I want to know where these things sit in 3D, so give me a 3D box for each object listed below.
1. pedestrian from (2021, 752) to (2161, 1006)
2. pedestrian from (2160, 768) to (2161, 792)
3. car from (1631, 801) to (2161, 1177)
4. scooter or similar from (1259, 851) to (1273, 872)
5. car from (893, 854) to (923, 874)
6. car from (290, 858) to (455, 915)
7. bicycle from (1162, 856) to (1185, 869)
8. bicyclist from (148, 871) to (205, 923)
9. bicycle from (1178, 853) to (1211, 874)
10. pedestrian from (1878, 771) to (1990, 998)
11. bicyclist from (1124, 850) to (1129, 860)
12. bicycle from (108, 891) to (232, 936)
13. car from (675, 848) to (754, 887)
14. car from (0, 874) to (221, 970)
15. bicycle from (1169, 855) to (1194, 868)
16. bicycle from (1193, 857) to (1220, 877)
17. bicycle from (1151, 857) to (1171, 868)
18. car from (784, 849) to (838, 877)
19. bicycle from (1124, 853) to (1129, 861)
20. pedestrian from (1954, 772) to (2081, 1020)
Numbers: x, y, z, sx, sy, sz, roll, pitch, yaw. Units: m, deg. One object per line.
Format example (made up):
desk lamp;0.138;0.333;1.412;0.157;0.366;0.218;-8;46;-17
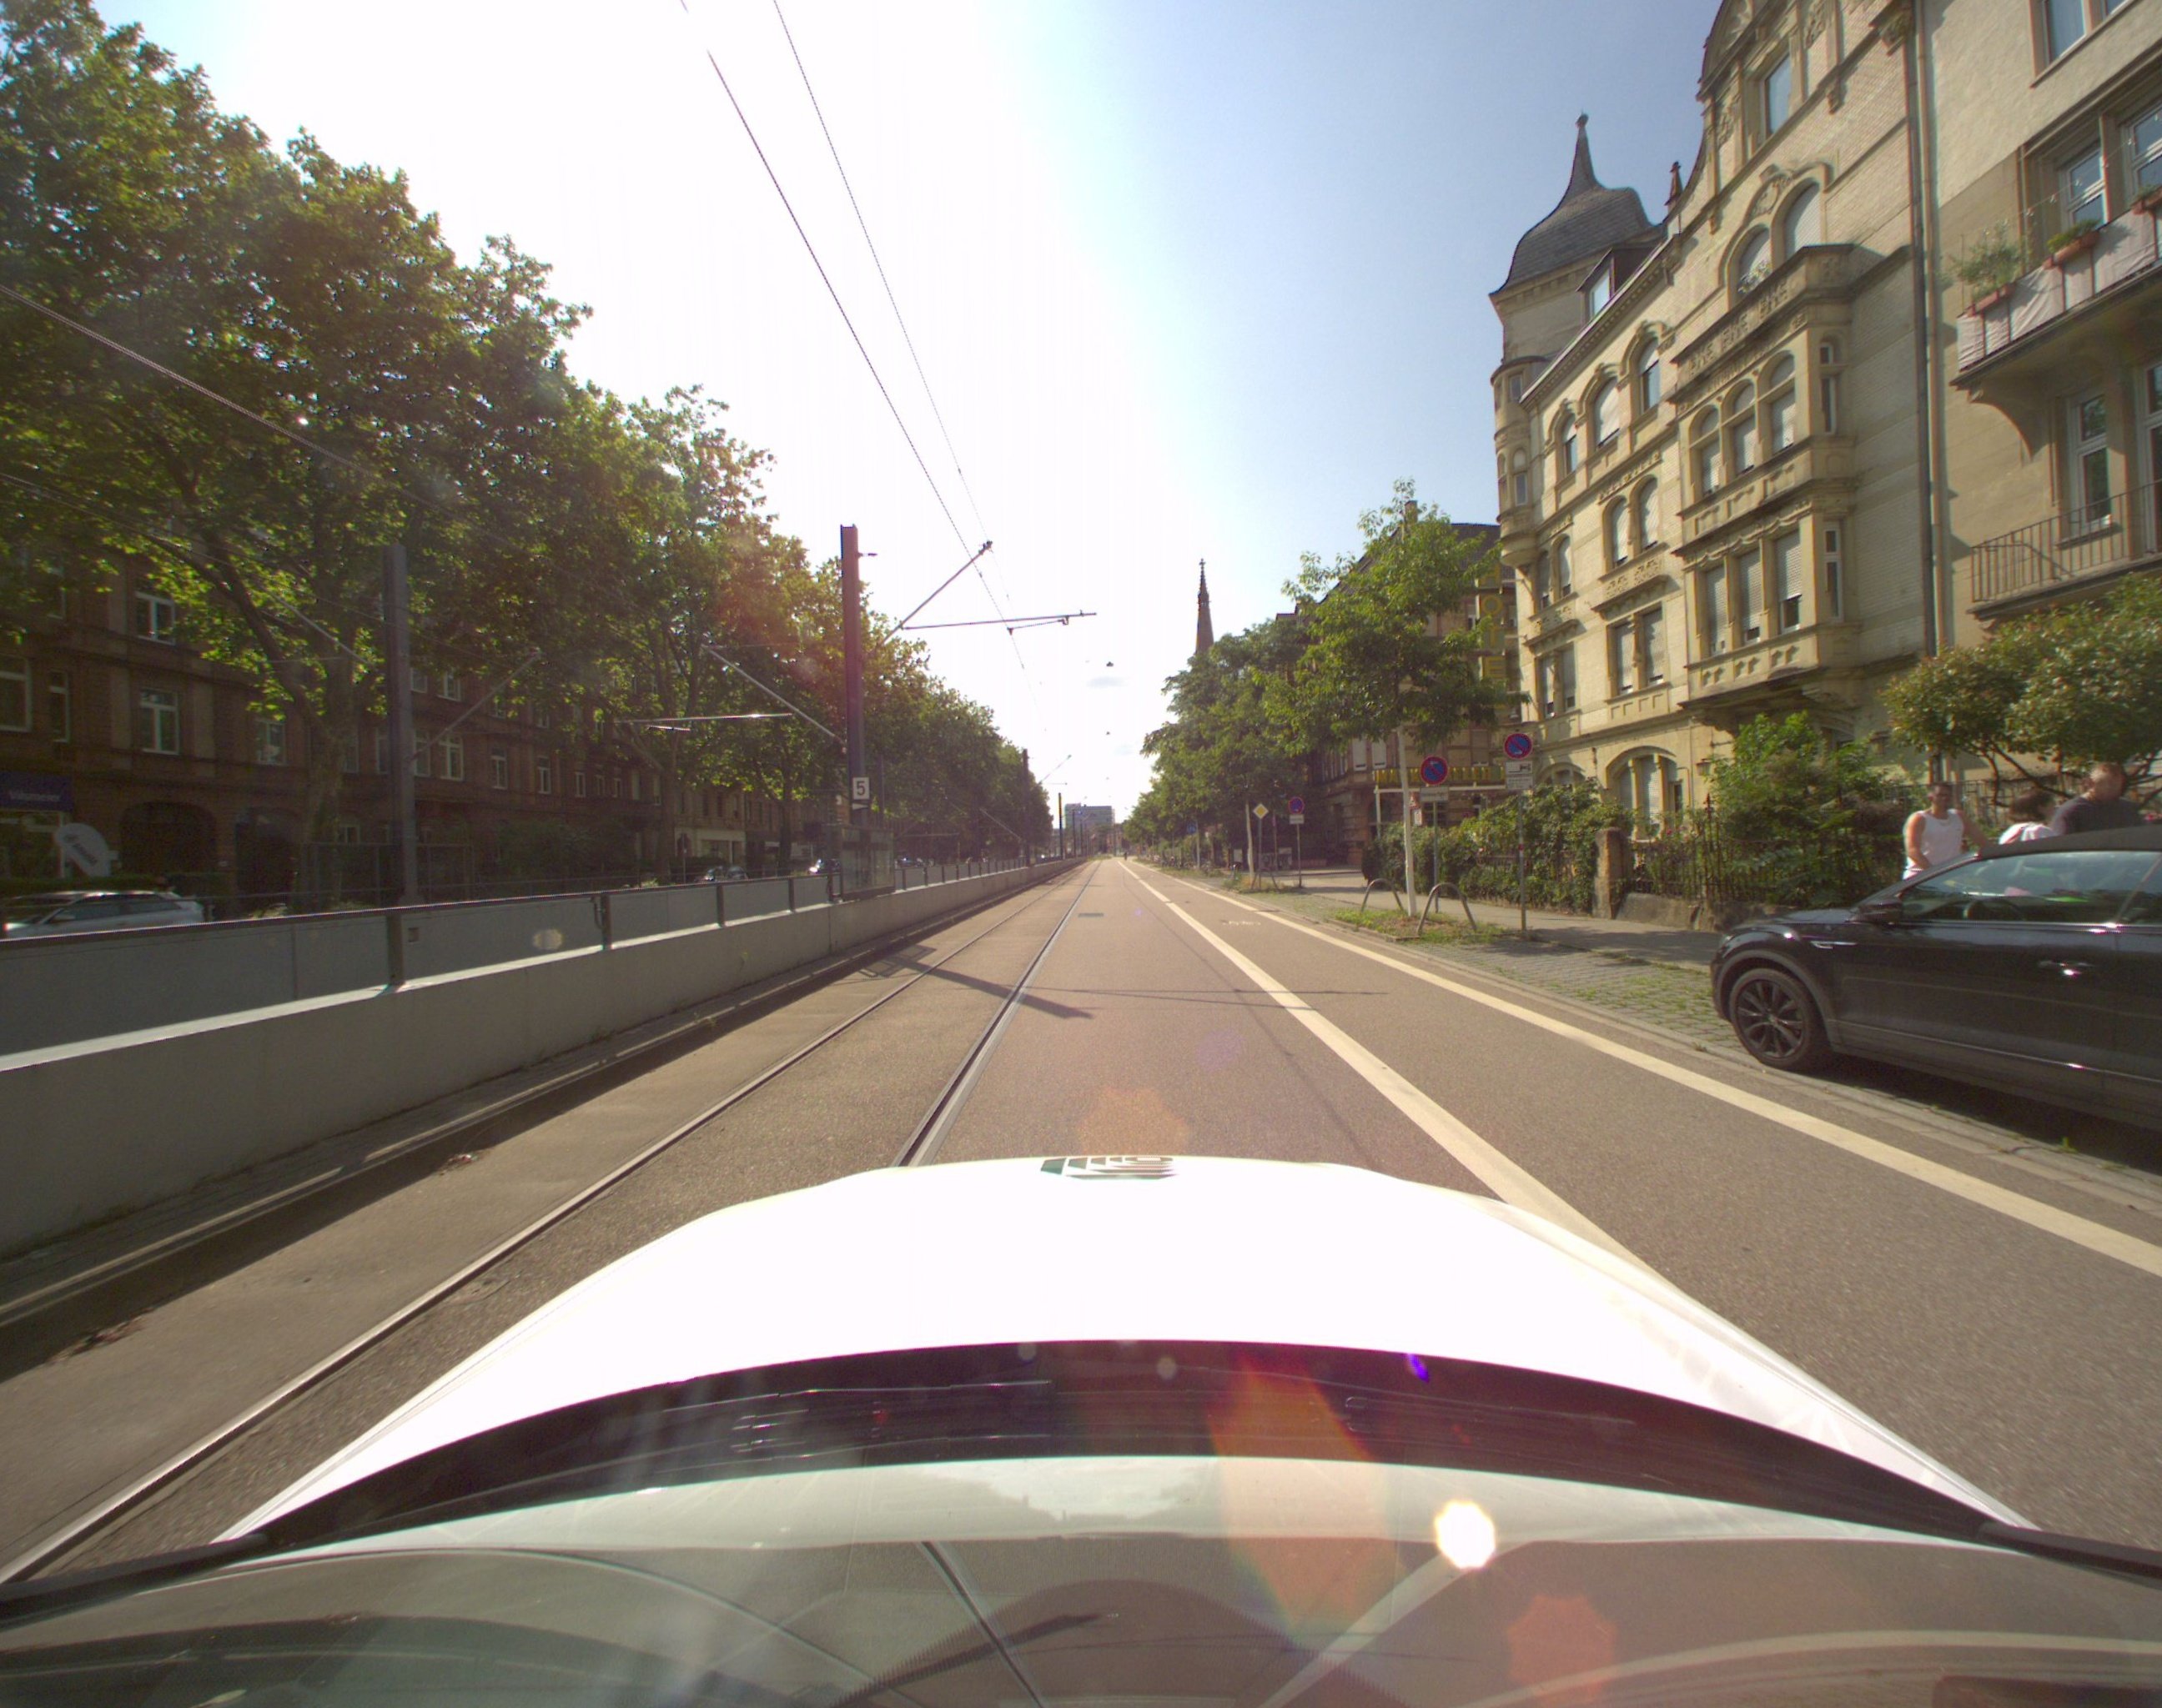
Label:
pedestrian;7.634;0.183;6.107;0.667;1.804;0.319;-4;0;0
pedestrian;7.663;0.248;5.338;0.502;1.706;0.493;-4;0;-17
car;5.322;0.522;4.189;1.793;1.526;4.486;-4;0;-2
scooter or similar;10.525;0.411;46.360;0.459;1.158;1.574;-3;0;2
car;-16.593;0.966;78.308;1.832;1.727;4.002;-5;0;2
car;-26.738;1.193;30.856;4.387;1.918;2.000;-2;0;0
bicycle;7.731;0.686;67.878;1.811;0.902;0.603;-4;0;-2
bicyclist;-22.030;1.035;19.839;0.533;1.232;0.724;-2;0;2
bicycle;7.024;0.567;50.306;1.816;1.145;0.649;-4;0;-10
pedestrian;7.038;0.243;6.726;0.457;1.804;0.319;-4;0;0
bicyclist;7.743;0.125;138.750;0.767;1.730;1.027;-2;0;2
bicycle;-22.022;1.407;19.755;0.533;0.913;2.150;-2;0;2
car;-18.014;0.629;40.210;1.708;1.691;3.738;-4;1;8
car;-18.673;1.232;14.820;1.637;1.482;4.003;-5;0;1
bicycle;7.738;0.568;62.940;1.811;0.902;0.651;-4;0;-2
bicycle;6.954;0.703;45.129;0.652;1.038;1.810;-4;0;-19
bicycle;7.803;0.794;79.149;1.811;0.902;0.603;-4;0;-2
car;-18.219;0.596;55.078;1.985;1.636;4.004;-5;0;4
bicycle;7.756;0.512;138.810;0.796;1.237;2.779;-2;0;2
pedestrian;6.729;0.293;5.868;0.316;1.706;0.462;-4;0;16
